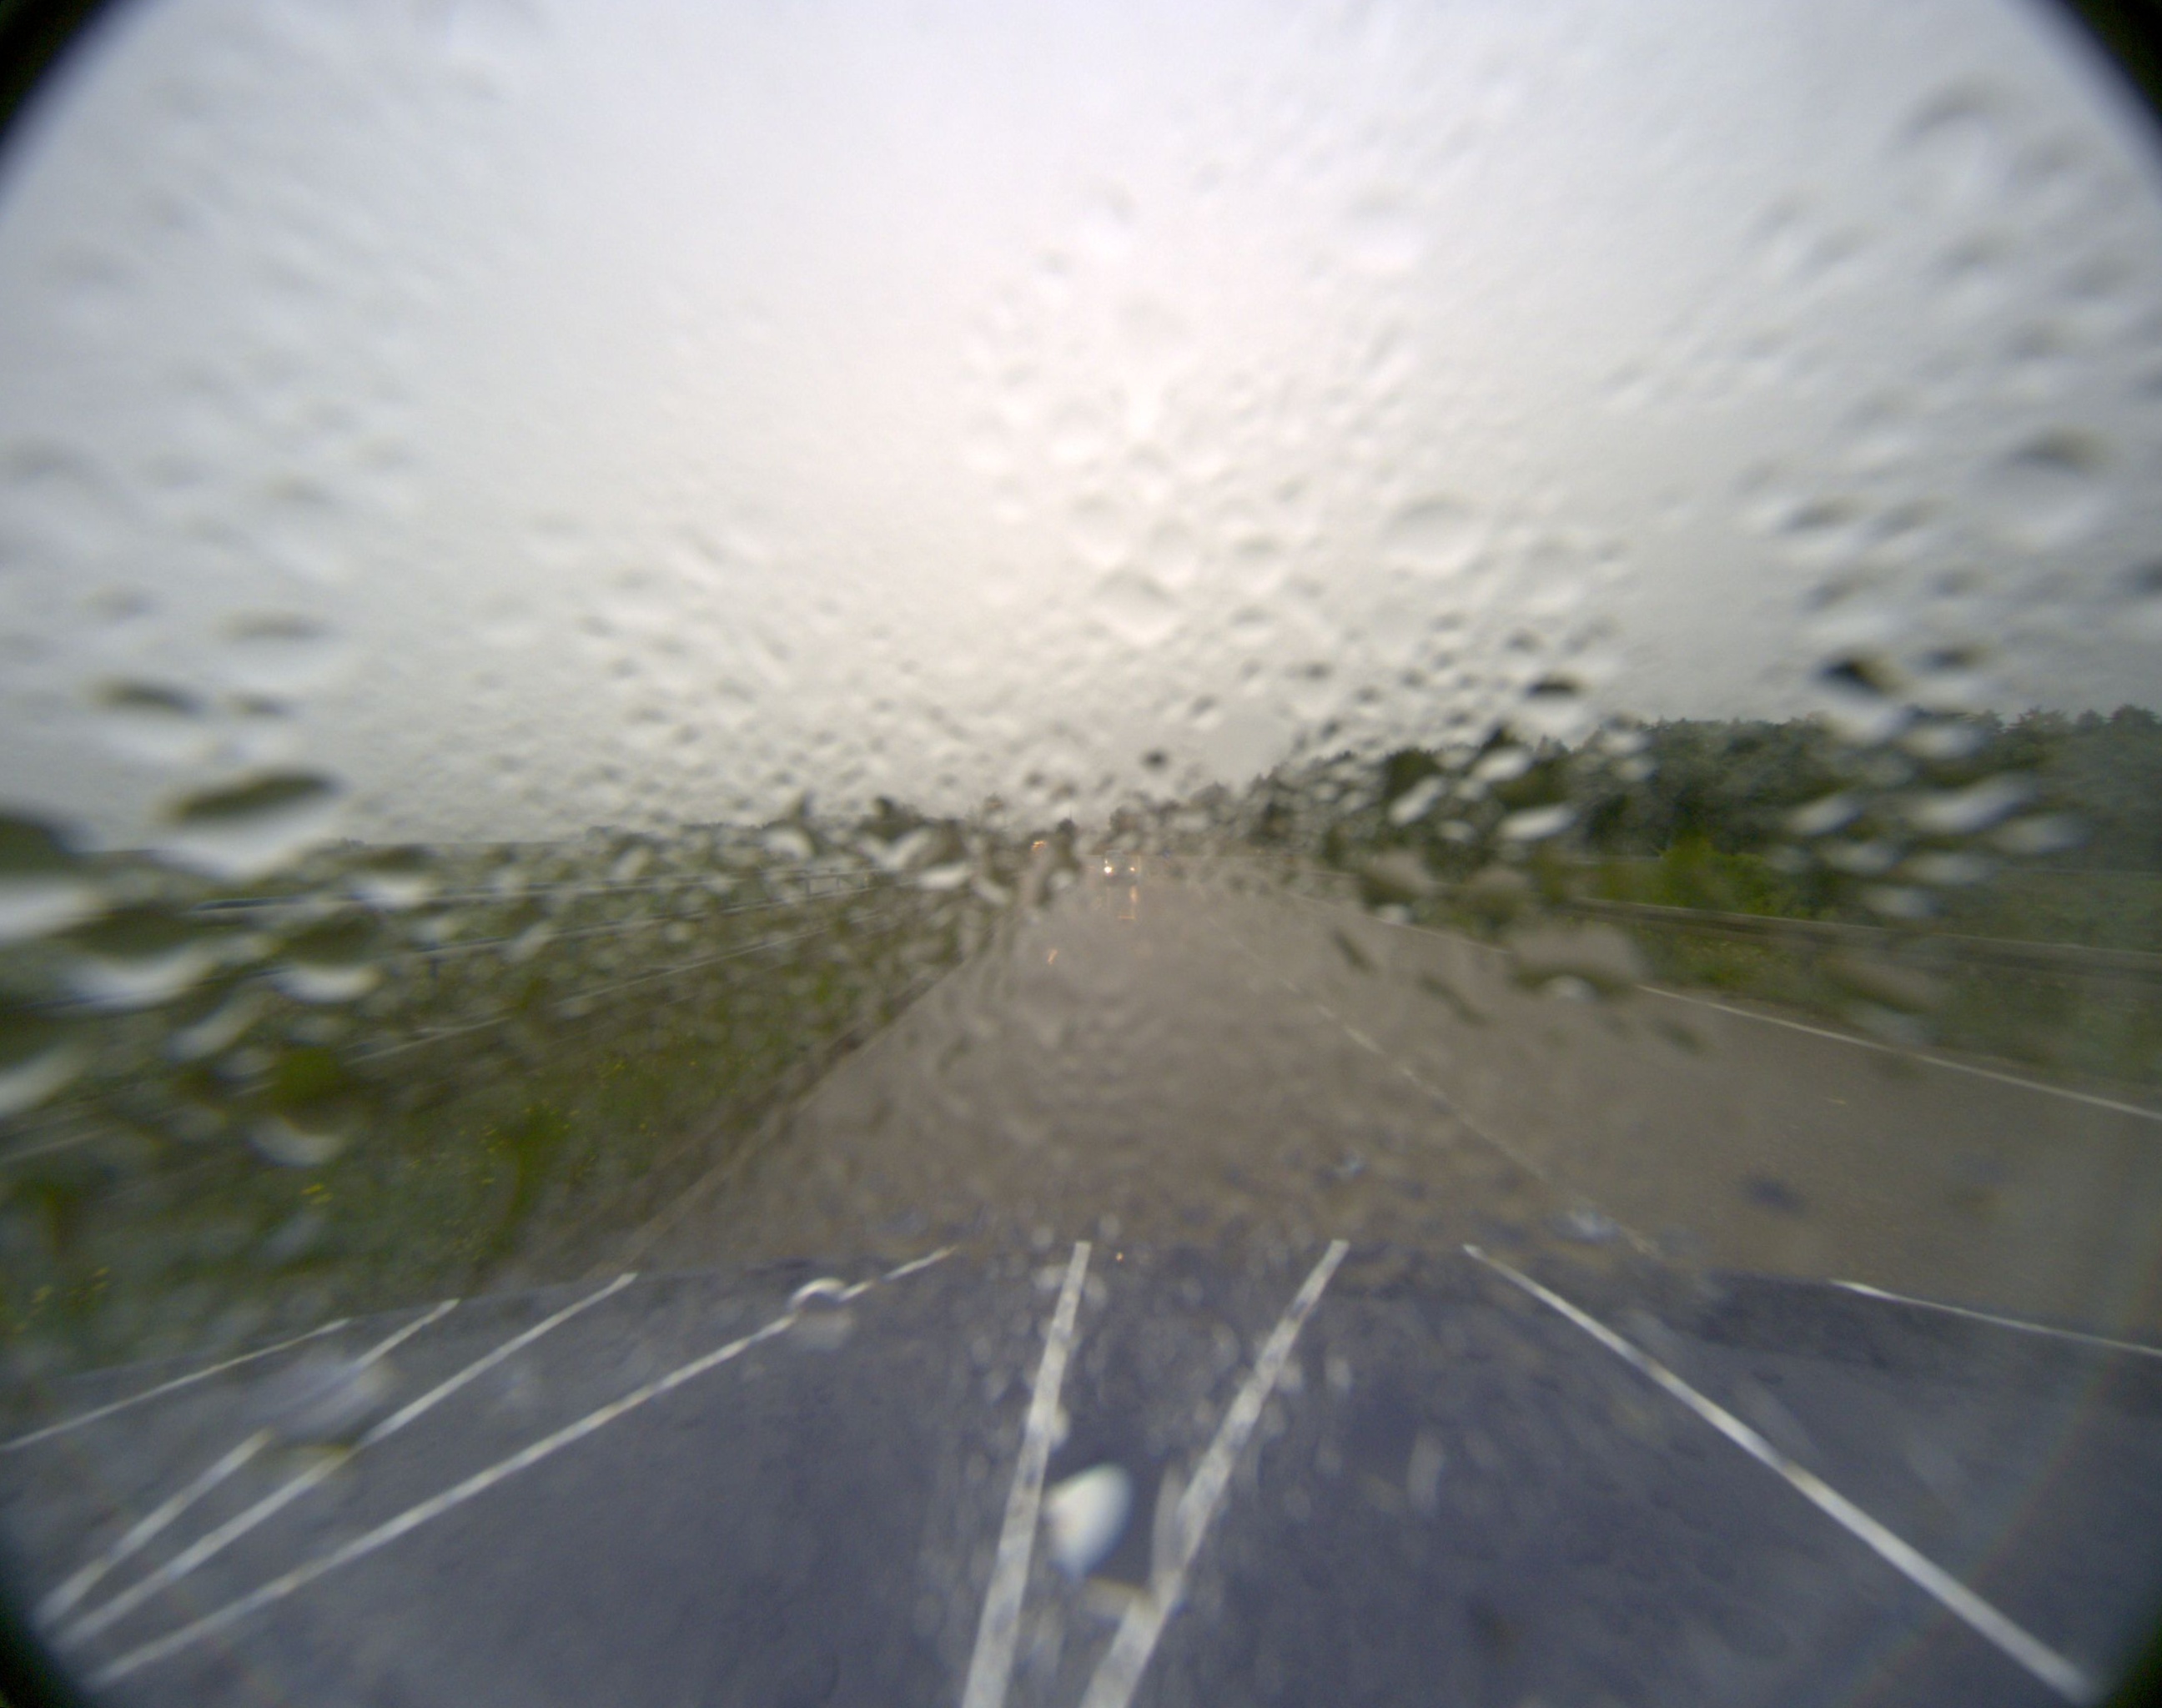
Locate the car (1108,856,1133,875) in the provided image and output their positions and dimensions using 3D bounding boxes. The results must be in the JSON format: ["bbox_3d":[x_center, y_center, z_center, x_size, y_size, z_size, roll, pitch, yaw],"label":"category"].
[{"bbox_3d":[3.153,0.848,60.147,1.762,1.412,4.505,1,0,6],"label":"car"}]

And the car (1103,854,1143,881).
[{"bbox_3d":[2.369,0.703,41.780,1.947,1.363,4.505,1,0,6],"label":"car"}]

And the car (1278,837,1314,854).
[{"bbox_3d":[22.236,-0.872,78.525,1.801,1.566,4.007,1,3,44],"label":"car"}]
